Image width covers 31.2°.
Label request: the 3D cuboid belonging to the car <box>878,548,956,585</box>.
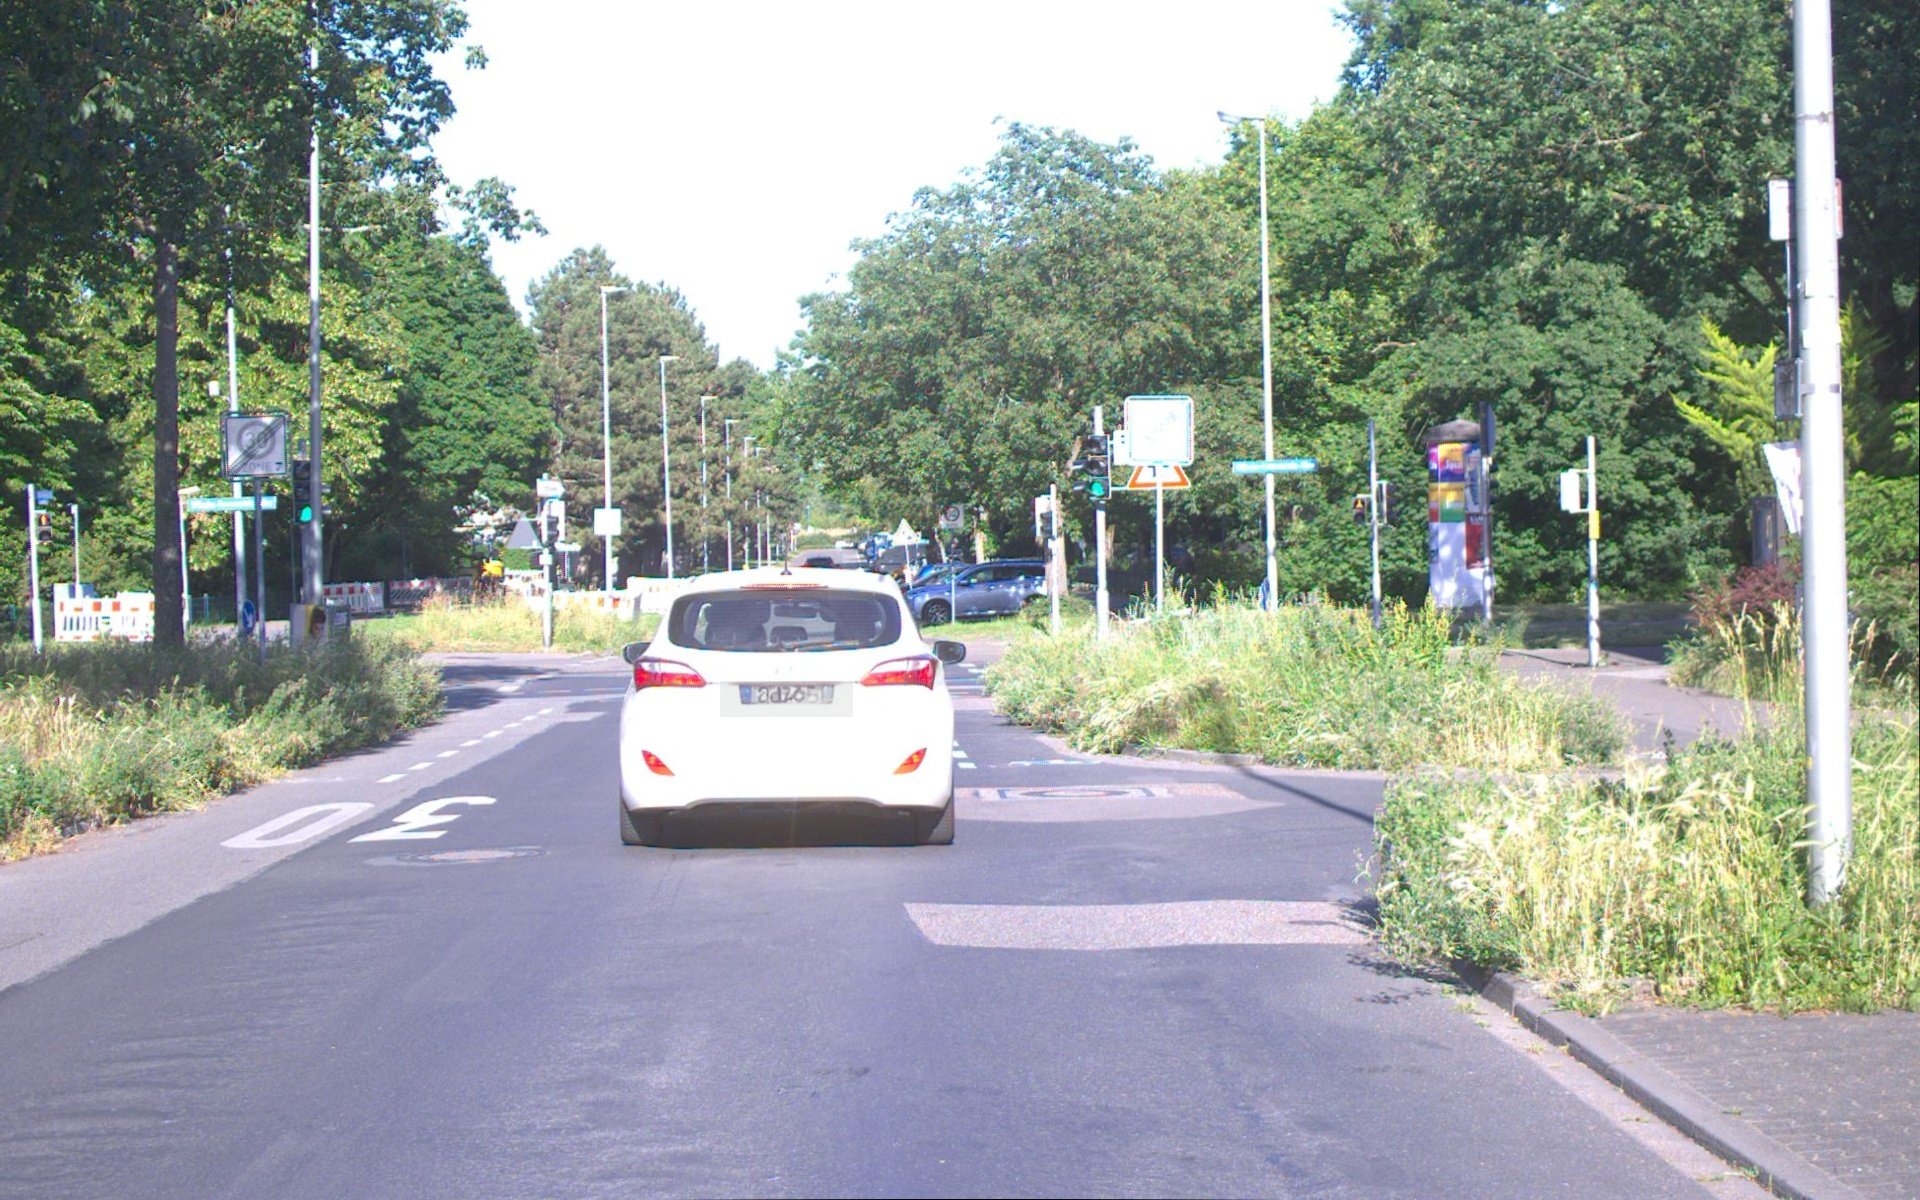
[{"bbox_3d":[-2.124,-1.641,168.811,3.819,1.761,1.863,0,0,-2],"label":"car"}]

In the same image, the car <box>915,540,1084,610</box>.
[{"bbox_3d":[1.064,-0.671,92.612,4.499,1.777,1.855,-1,0,1],"label":"car"}]

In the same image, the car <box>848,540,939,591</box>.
[{"bbox_3d":[-2.799,-1.445,144.615,3.819,2.091,1.863,0,0,-2],"label":"car"}]

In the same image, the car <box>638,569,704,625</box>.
[{"bbox_3d":[-9.794,-0.127,116.636,1.993,1.809,4.001,0,1,-2],"label":"car"}]

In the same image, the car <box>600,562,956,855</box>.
[{"bbox_3d":[-0.983,0.526,19.395,1.789,1.458,3.964,0,1,-2],"label":"car"}]

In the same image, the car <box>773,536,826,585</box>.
[{"bbox_3d":[-6.348,-1.577,136.225,1.993,1.809,4.001,2,1,-2],"label":"car"}]

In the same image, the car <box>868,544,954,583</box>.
[{"bbox_3d":[-2.457,-1.820,171.952,4.301,1.901,1.863,0,0,-2],"label":"car"}]

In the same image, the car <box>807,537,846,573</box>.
[{"bbox_3d":[-6.963,-2.343,180.032,1.993,1.809,4.000,0,0,-2],"label":"car"}]

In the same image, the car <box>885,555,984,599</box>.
[{"bbox_3d":[-1.007,-0.895,134.619,3.819,1.678,1.863,0,0,-2],"label":"car"}]

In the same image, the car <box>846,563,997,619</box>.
[{"bbox_3d":[-1.150,-0.283,104.577,4.499,1.624,1.855,-1,1,1],"label":"car"}]

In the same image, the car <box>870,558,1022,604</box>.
[{"bbox_3d":[-0.543,-0.712,127.946,5.613,1.678,1.948,0,0,-2],"label":"car"}]

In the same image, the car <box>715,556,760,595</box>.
[{"bbox_3d":[-10.642,-1.176,164.823,1.993,1.809,4.000,0,1,-2],"label":"car"}]
